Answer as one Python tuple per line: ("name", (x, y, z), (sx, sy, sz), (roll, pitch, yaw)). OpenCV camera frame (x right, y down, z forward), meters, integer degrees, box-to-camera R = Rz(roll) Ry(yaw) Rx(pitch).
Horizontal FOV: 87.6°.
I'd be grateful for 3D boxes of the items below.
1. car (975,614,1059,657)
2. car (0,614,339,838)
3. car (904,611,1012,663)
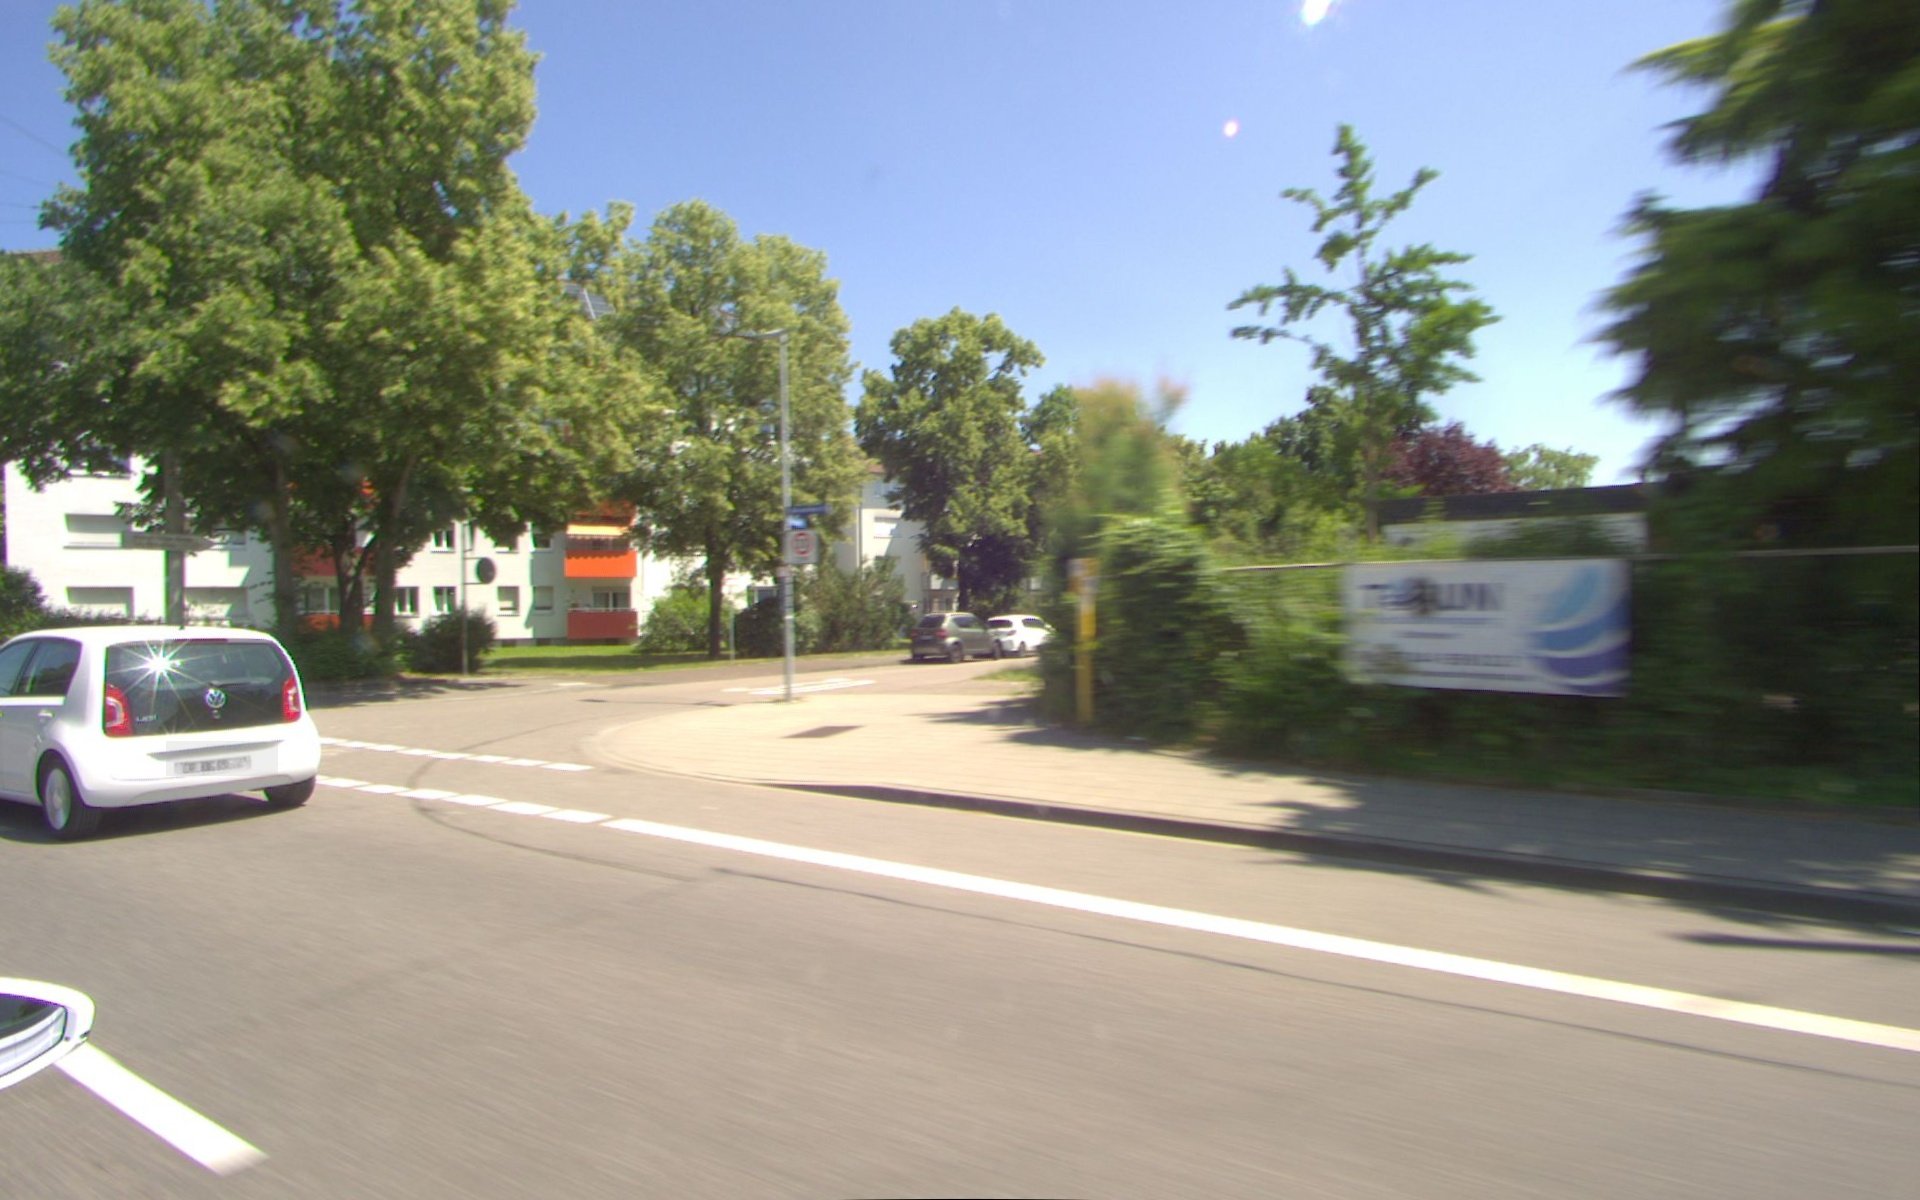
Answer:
("car", (2.111, 1.256, 36.261), (1.551, 1.487, 3.194), (-1, -1, 36))
("car", (-6.837, 0.868, 8.164), (3.384, 1.466, 1.608), (0, -2, 30))
("car", (-0.020, 1.191, 33.005), (1.672, 1.600, 3.702), (-1, -1, 36))
